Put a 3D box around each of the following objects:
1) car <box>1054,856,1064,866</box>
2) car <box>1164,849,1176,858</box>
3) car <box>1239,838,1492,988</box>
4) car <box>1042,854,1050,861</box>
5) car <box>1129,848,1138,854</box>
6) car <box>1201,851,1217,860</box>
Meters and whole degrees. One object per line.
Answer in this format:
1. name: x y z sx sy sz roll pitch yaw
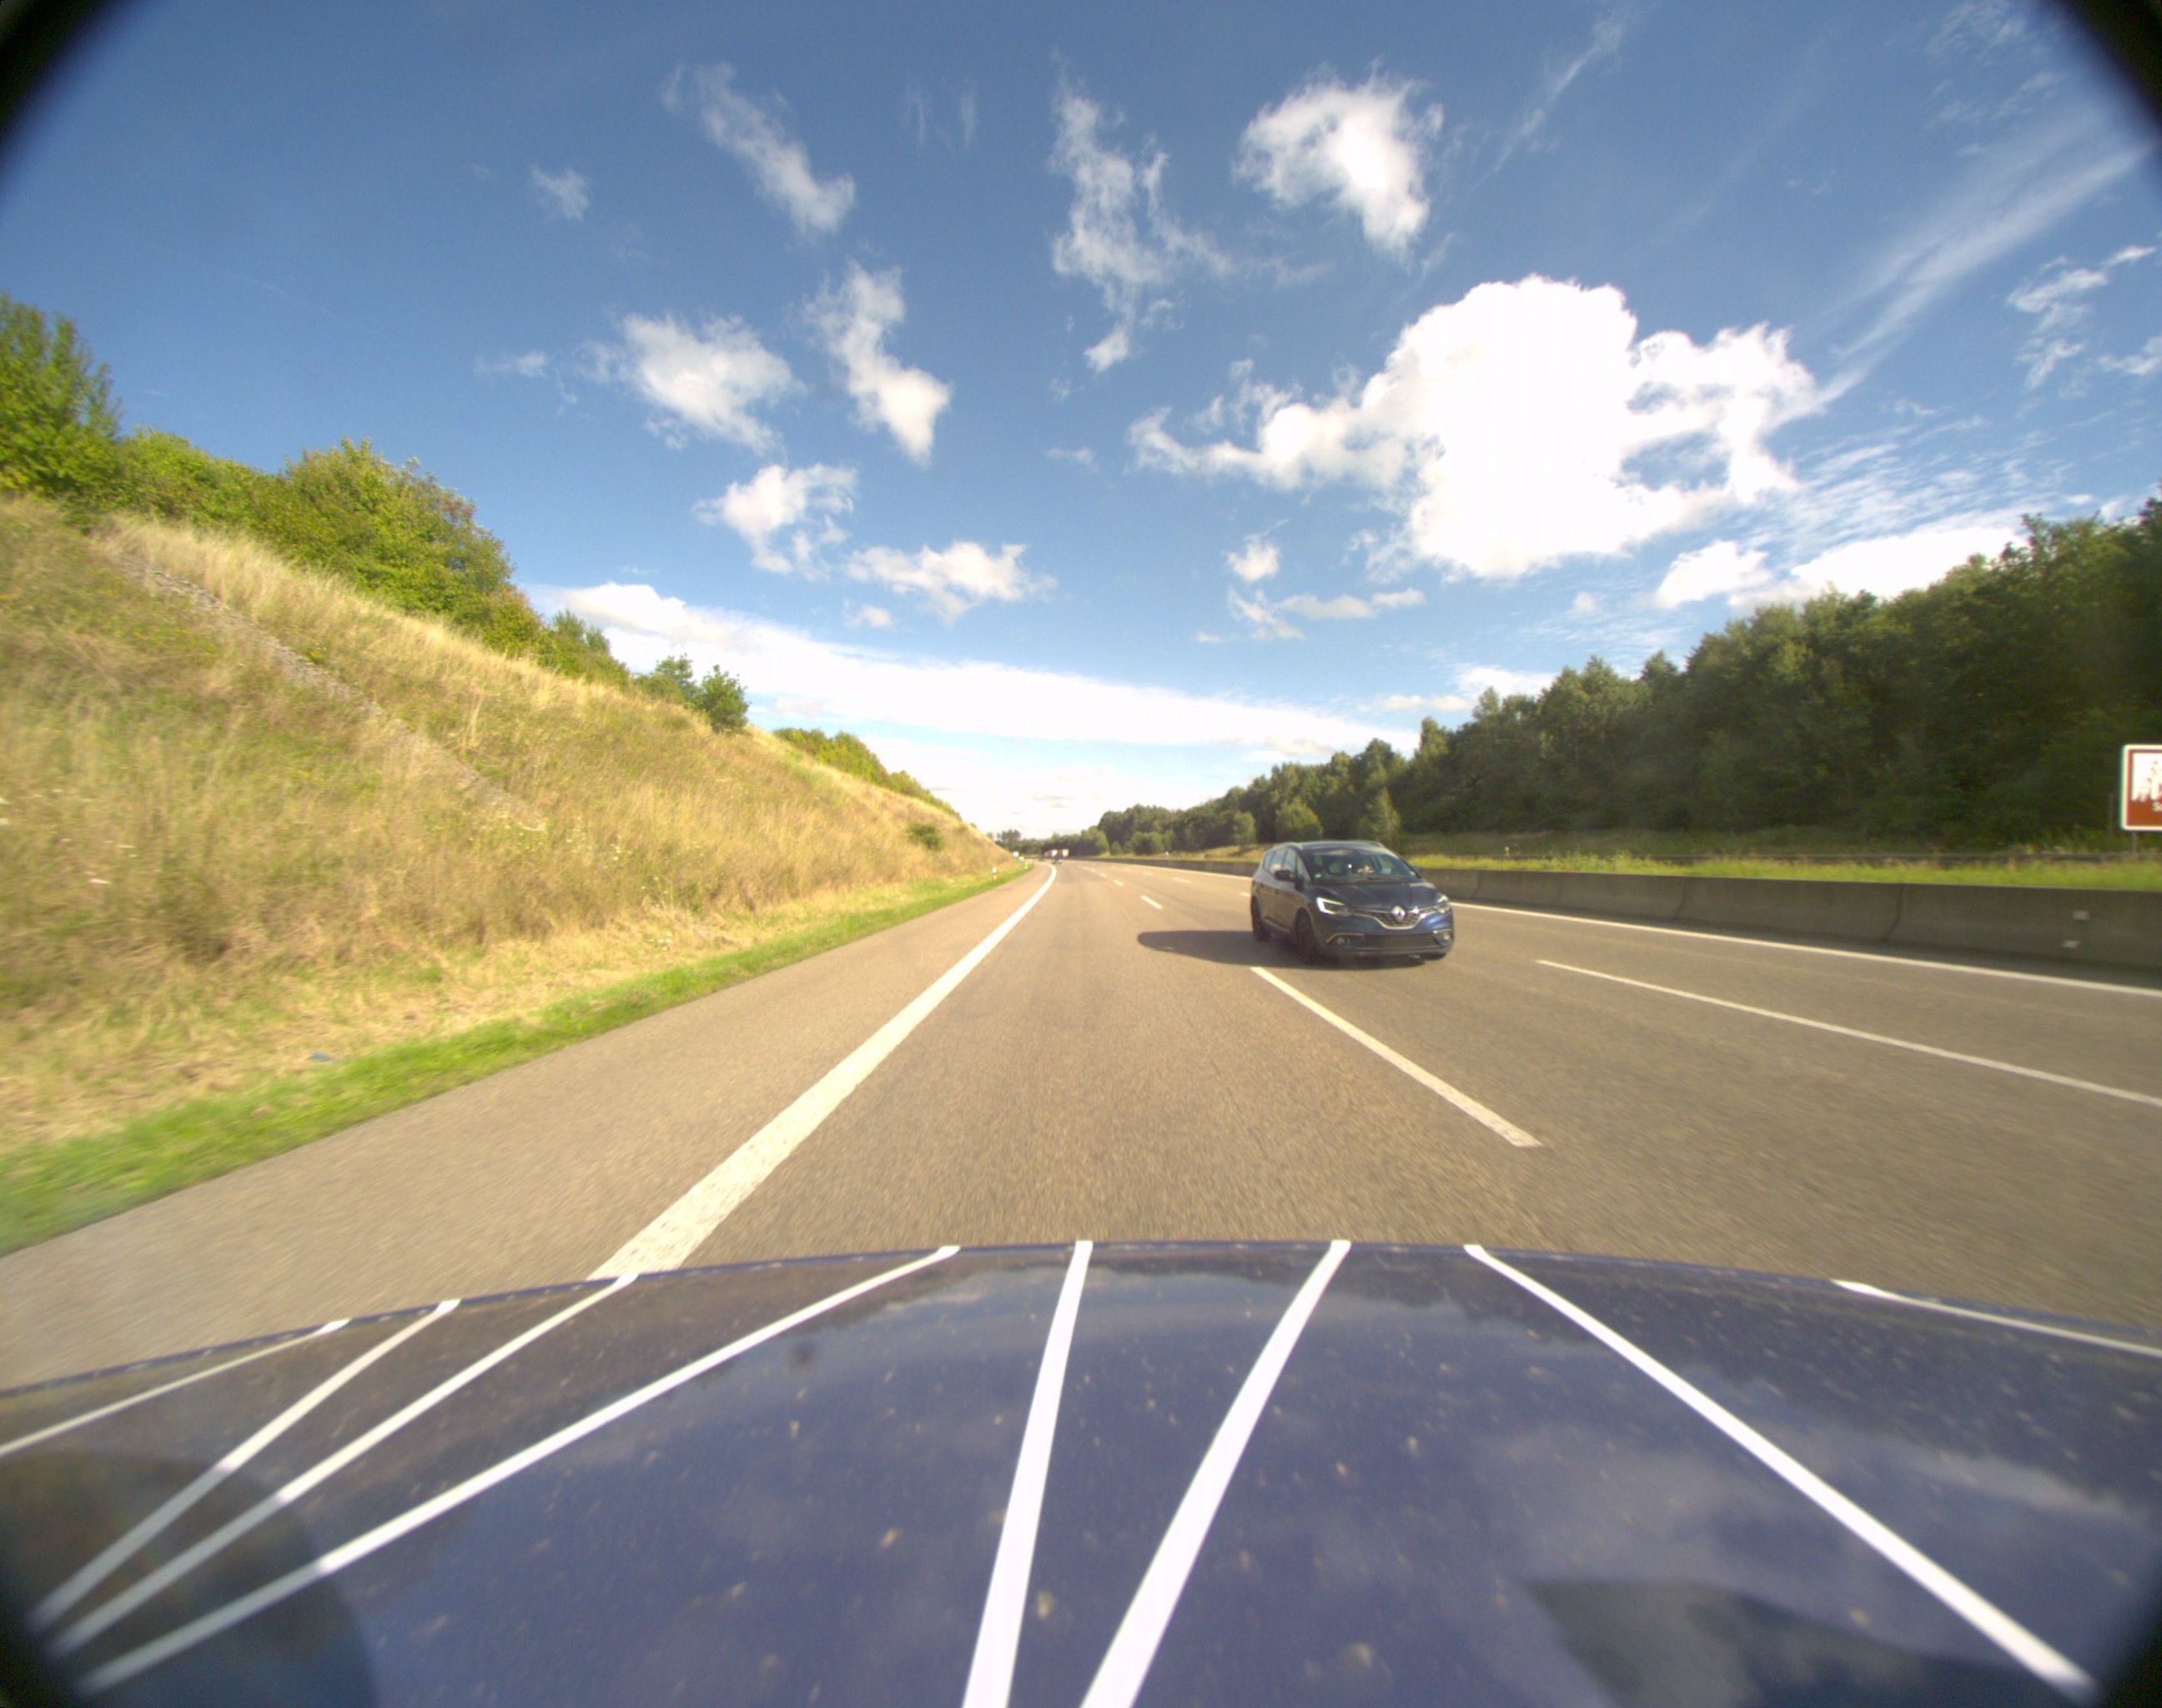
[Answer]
1. car: -4.570 1.450 159.346 1.999 1.827 3.998 -2 1 -2
2. car: 18.836 -0.163 160.366 1.998 1.790 4.000 -2 0 0
3. car: 3.841 0.693 11.271 1.998 1.697 4.528 -3 0 0
4. car: -10.574 1.005 230.275 2.000 2.002 3.997 -2 1 -7
5. car: 16.557 -0.864 241.461 2.000 1.790 3.997 -2 0 -8
6. car: 20.961 0.197 124.375 1.911 1.443 4.000 -2 0 0
